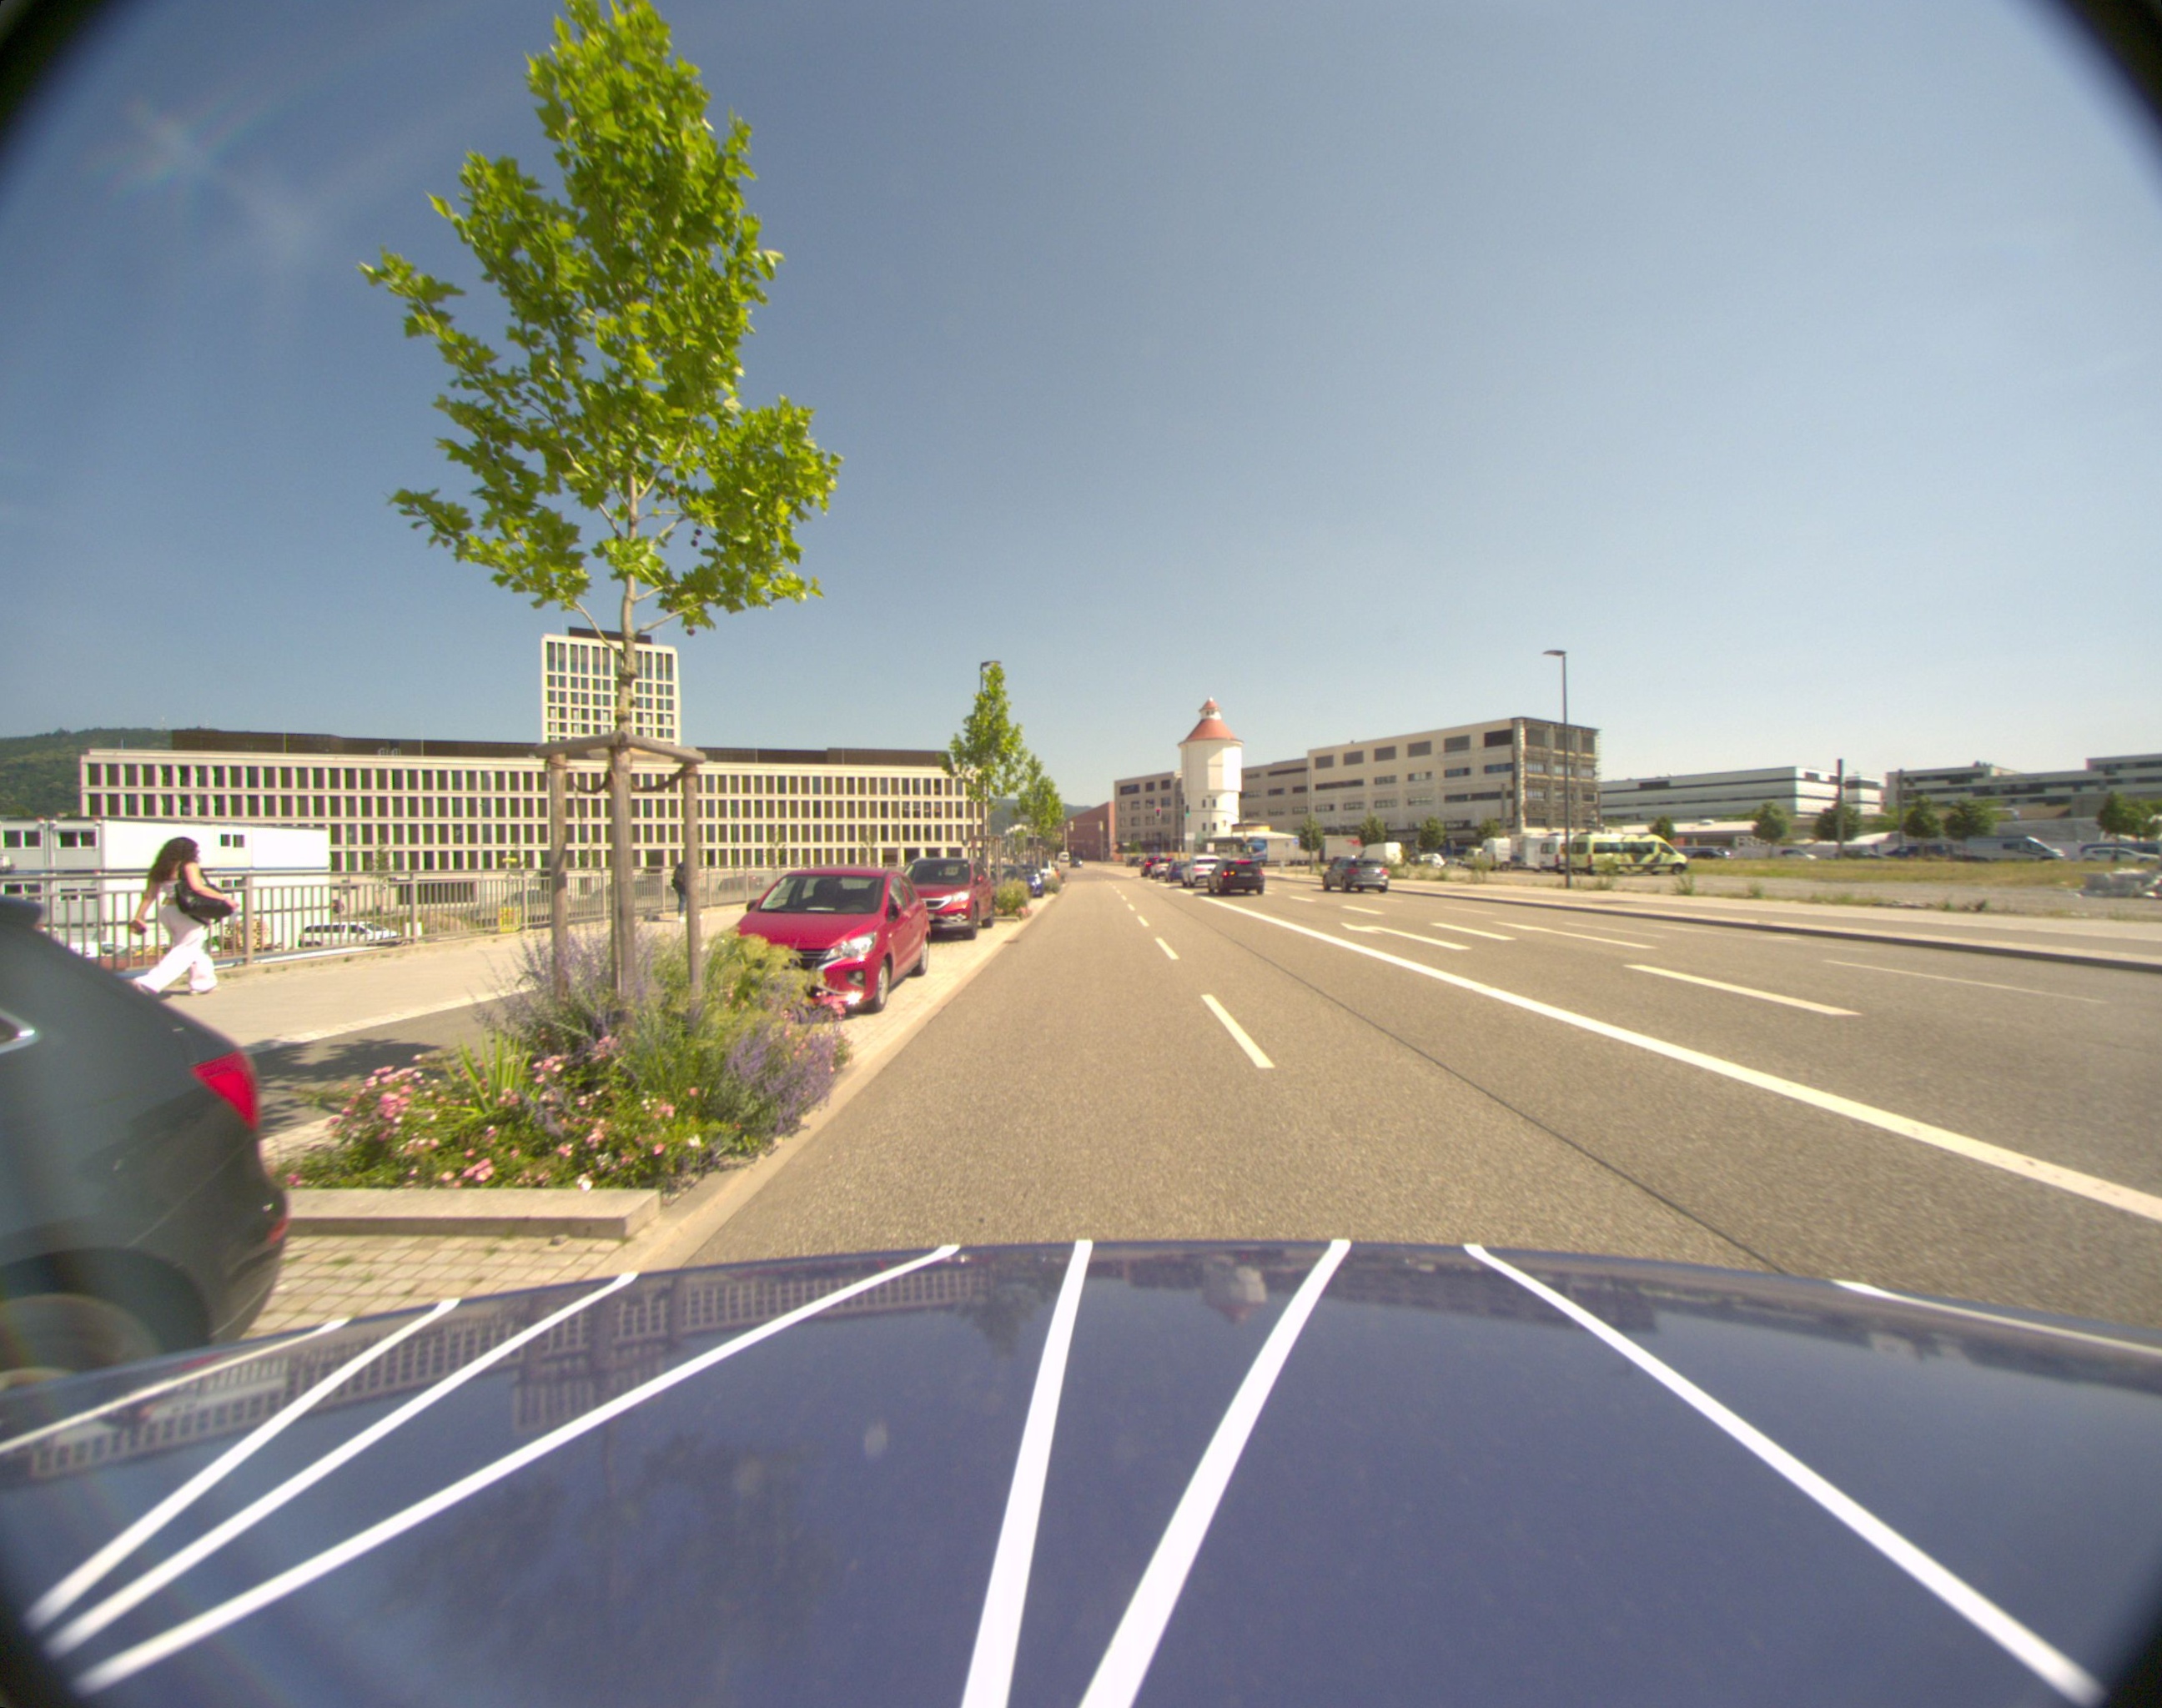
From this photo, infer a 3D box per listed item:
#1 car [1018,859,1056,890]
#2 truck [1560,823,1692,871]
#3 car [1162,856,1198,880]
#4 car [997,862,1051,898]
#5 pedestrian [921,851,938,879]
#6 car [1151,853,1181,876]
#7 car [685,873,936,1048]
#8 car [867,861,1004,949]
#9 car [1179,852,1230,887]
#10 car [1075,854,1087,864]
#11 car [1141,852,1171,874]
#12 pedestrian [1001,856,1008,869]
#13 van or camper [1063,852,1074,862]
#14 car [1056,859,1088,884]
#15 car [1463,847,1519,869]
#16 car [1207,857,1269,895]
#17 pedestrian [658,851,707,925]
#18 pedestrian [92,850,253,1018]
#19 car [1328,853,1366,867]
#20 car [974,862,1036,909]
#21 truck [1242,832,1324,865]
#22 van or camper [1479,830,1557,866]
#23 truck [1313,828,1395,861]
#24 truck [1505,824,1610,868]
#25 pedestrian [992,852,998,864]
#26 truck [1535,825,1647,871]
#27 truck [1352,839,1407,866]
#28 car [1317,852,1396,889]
[{"bbox_3d":[-2.417,1.105,42.987,1.877,1.617,4.876,0,0,0],"label":"car"},{"bbox_3d":[35.055,-0.435,49.007,6.653,2.809,2.602,-2,0,-2],"label":"truck"},{"bbox_3d":[6.396,0.902,49.539,1.790,1.413,4.282,-2,0,1],"label":"car"},{"bbox_3d":[-2.457,1.103,33.617,1.913,1.470,4.158,0,0,2],"label":"car"},{"bbox_3d":[-8.804,0.621,44.125,0.752,1.600,0.949,2,0,1],"label":"pedestrian"},{"bbox_3d":[6.405,0.809,57.725,1.783,1.672,4.098,0,0,-1],"label":"car"},{"bbox_3d":[-2.813,1.017,8.799,1.608,1.483,3.818,1,0,-1],"label":"car"},{"bbox_3d":[-2.946,0.967,16.402,1.913,1.607,4.549,-1,0,2],"label":"car"},{"bbox_3d":[6.409,0.774,39.857,1.918,1.640,4.730,-3,0,1],"label":"car"},{"bbox_3d":[-0.023,0.730,118.217,1.783,1.552,3.831,0,0,-1],"label":"car"},{"bbox_3d":[6.465,0.766,65.745,1.944,1.778,4.655,-2,0,-1],"label":"car"},{"bbox_3d":[-10.916,1.257,108.664,0.880,1.816,1.664,-2,0,-6],"label":"pedestrian"},{"bbox_3d":[-3.027,0.685,181.267,2.159,2.400,5.678,-1,0,-6],"label":"van or camper"},{"bbox_3d":[-0.549,1.098,50.376,1.998,1.510,4.000,-2,0,1],"label":"car"},{"bbox_3d":[34.875,0.359,64.727,3.876,1.748,1.657,-2,0,-3],"label":"car"},{"bbox_3d":[6.393,0.857,31.378,1.791,1.390,4.572,-1,0,2],"label":"car"},{"bbox_3d":[-9.531,0.795,18.197,0.733,1.696,0.651,-2,2,2],"label":"pedestrian"},{"bbox_3d":[-9.592,0.814,8.053,0.782,1.695,0.742,0,1,2],"label":"pedestrian"},{"bbox_3d":[32.302,0.696,92.380,4.001,1.630,1.878,-2,1,-13],"label":"car"},{"bbox_3d":[-2.584,1.044,26.465,1.624,1.470,3.824,-1,0,2],"label":"car"},{"bbox_3d":[28.499,-0.856,107.283,10.987,4.045,3.297,-3,2,-17],"label":"truck"},{"bbox_3d":[35.110,-0.491,61.164,4.912,2.646,2.260,-2,0,1],"label":"van or camper"},{"bbox_3d":[39.448,-1.401,109.887,10.950,4.251,3.341,-3,2,-10],"label":"truck"},{"bbox_3d":[35.565,-0.632,56.905,6.160,2.885,2.570,-3,2,2],"label":"truck"},{"bbox_3d":[-12.401,0.544,109.548,0.827,1.774,0.926,0,2,-8],"label":"pedestrian"},{"bbox_3d":[34.809,-0.431,52.004,5.849,2.809,2.570,-3,2,2],"label":"truck"},{"bbox_3d":[30.257,-0.159,77.316,2.174,2.640,5.937,-1,1,-14],"label":"truck"},{"bbox_3d":[12.080,0.686,33.619,1.907,1.487,4.387,0,0,0],"label":"car"}]
